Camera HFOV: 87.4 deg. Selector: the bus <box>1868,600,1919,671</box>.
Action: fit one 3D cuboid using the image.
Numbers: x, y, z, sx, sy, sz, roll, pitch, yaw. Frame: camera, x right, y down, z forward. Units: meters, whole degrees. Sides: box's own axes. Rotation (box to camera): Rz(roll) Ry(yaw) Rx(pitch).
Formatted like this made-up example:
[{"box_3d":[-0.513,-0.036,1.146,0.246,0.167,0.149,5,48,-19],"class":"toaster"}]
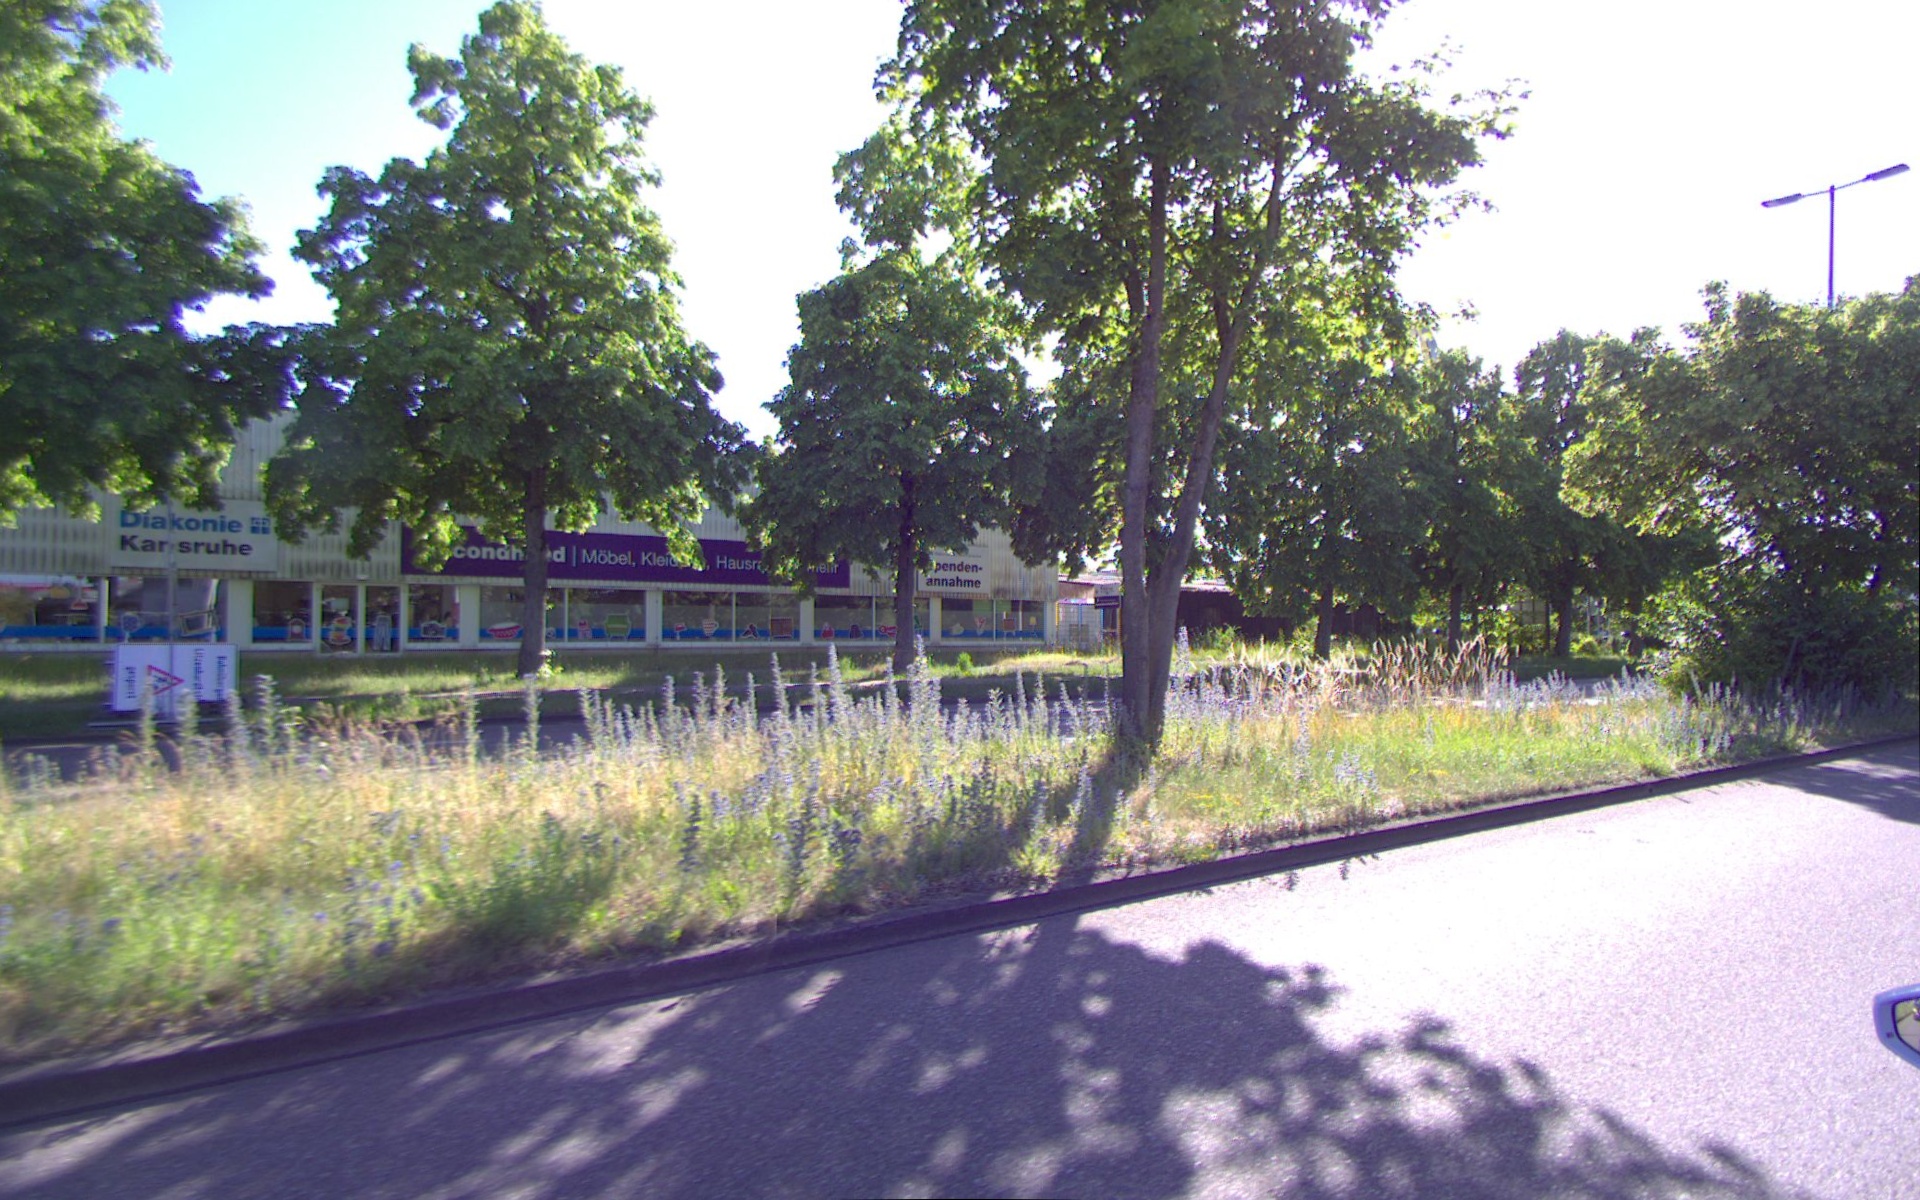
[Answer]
[{"box_3d":[41.872,1.488,42.443,10.976,2.756,2.705,1,-4,-35],"class":"bus"}]
